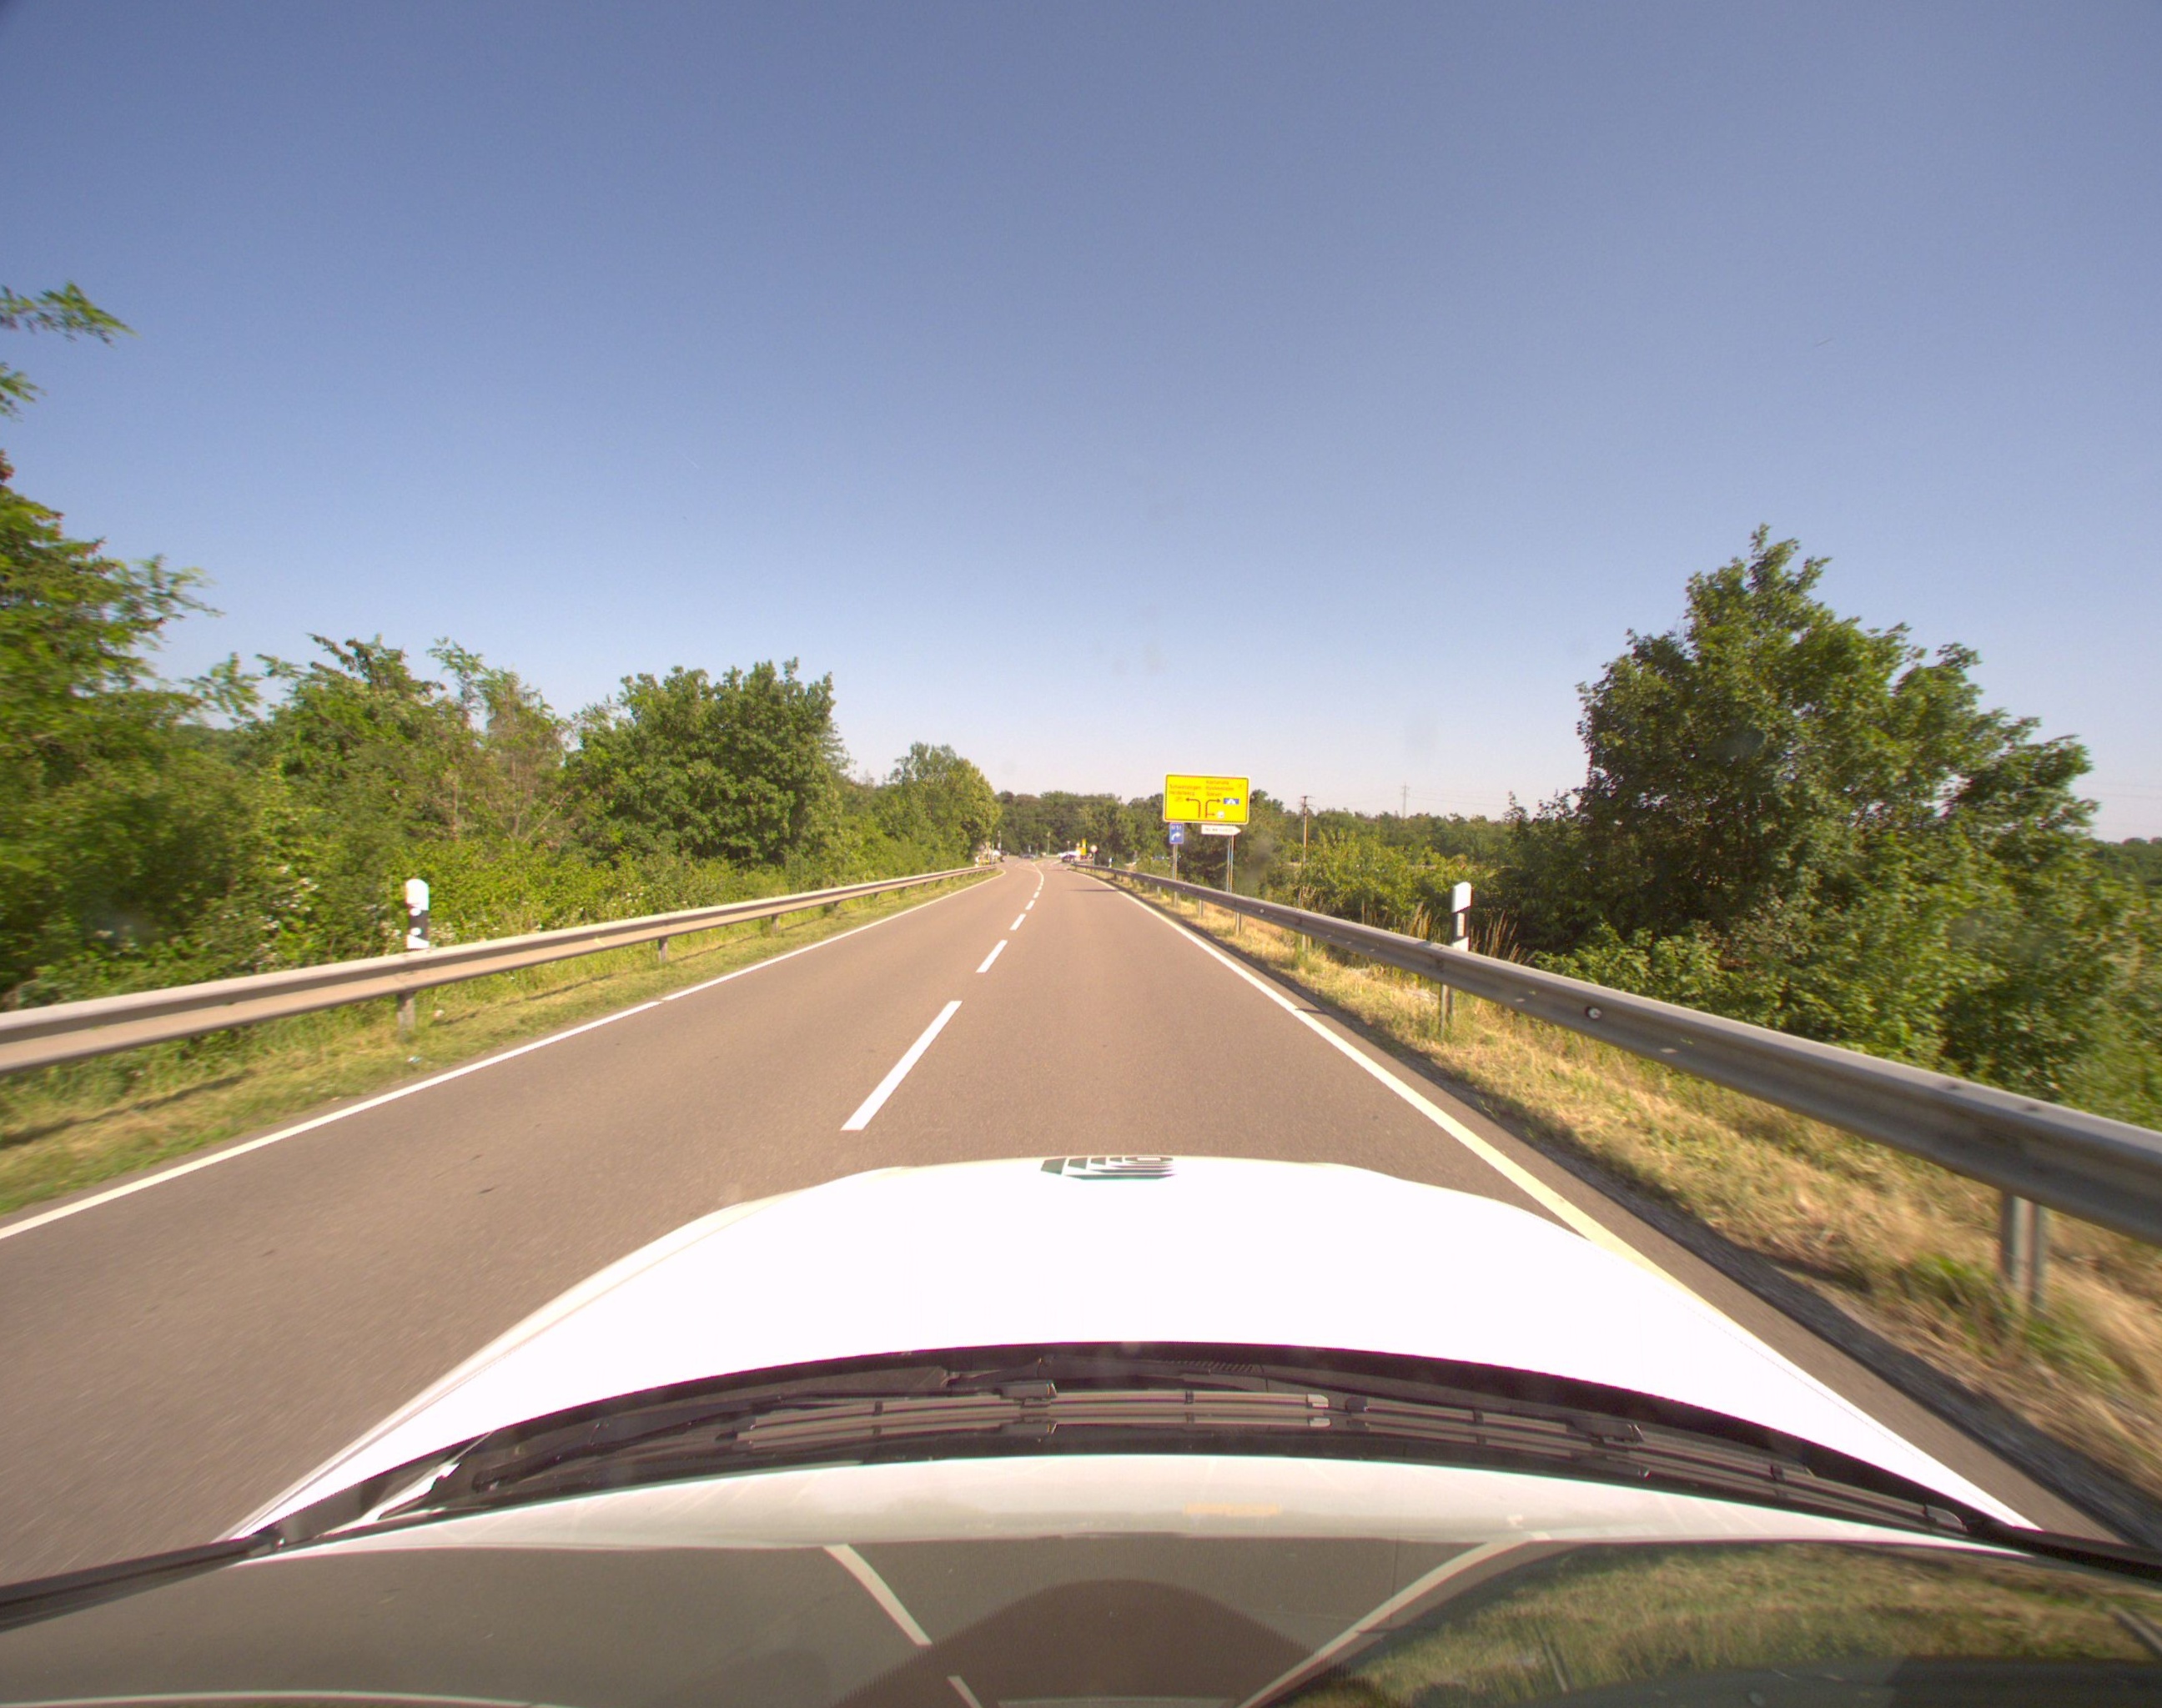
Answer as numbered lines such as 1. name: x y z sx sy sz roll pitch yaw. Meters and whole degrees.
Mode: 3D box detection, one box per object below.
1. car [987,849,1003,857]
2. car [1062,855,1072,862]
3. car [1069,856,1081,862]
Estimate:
1. car: -23.630 -0.244 223.409 4.006 2.013 1.781 -1 0 -25
2. car: -3.015 0.937 180.162 1.792 1.398 4.002 -5 0 2
3. car: -1.436 1.126 187.594 1.786 1.501 4.015 2 0 14
